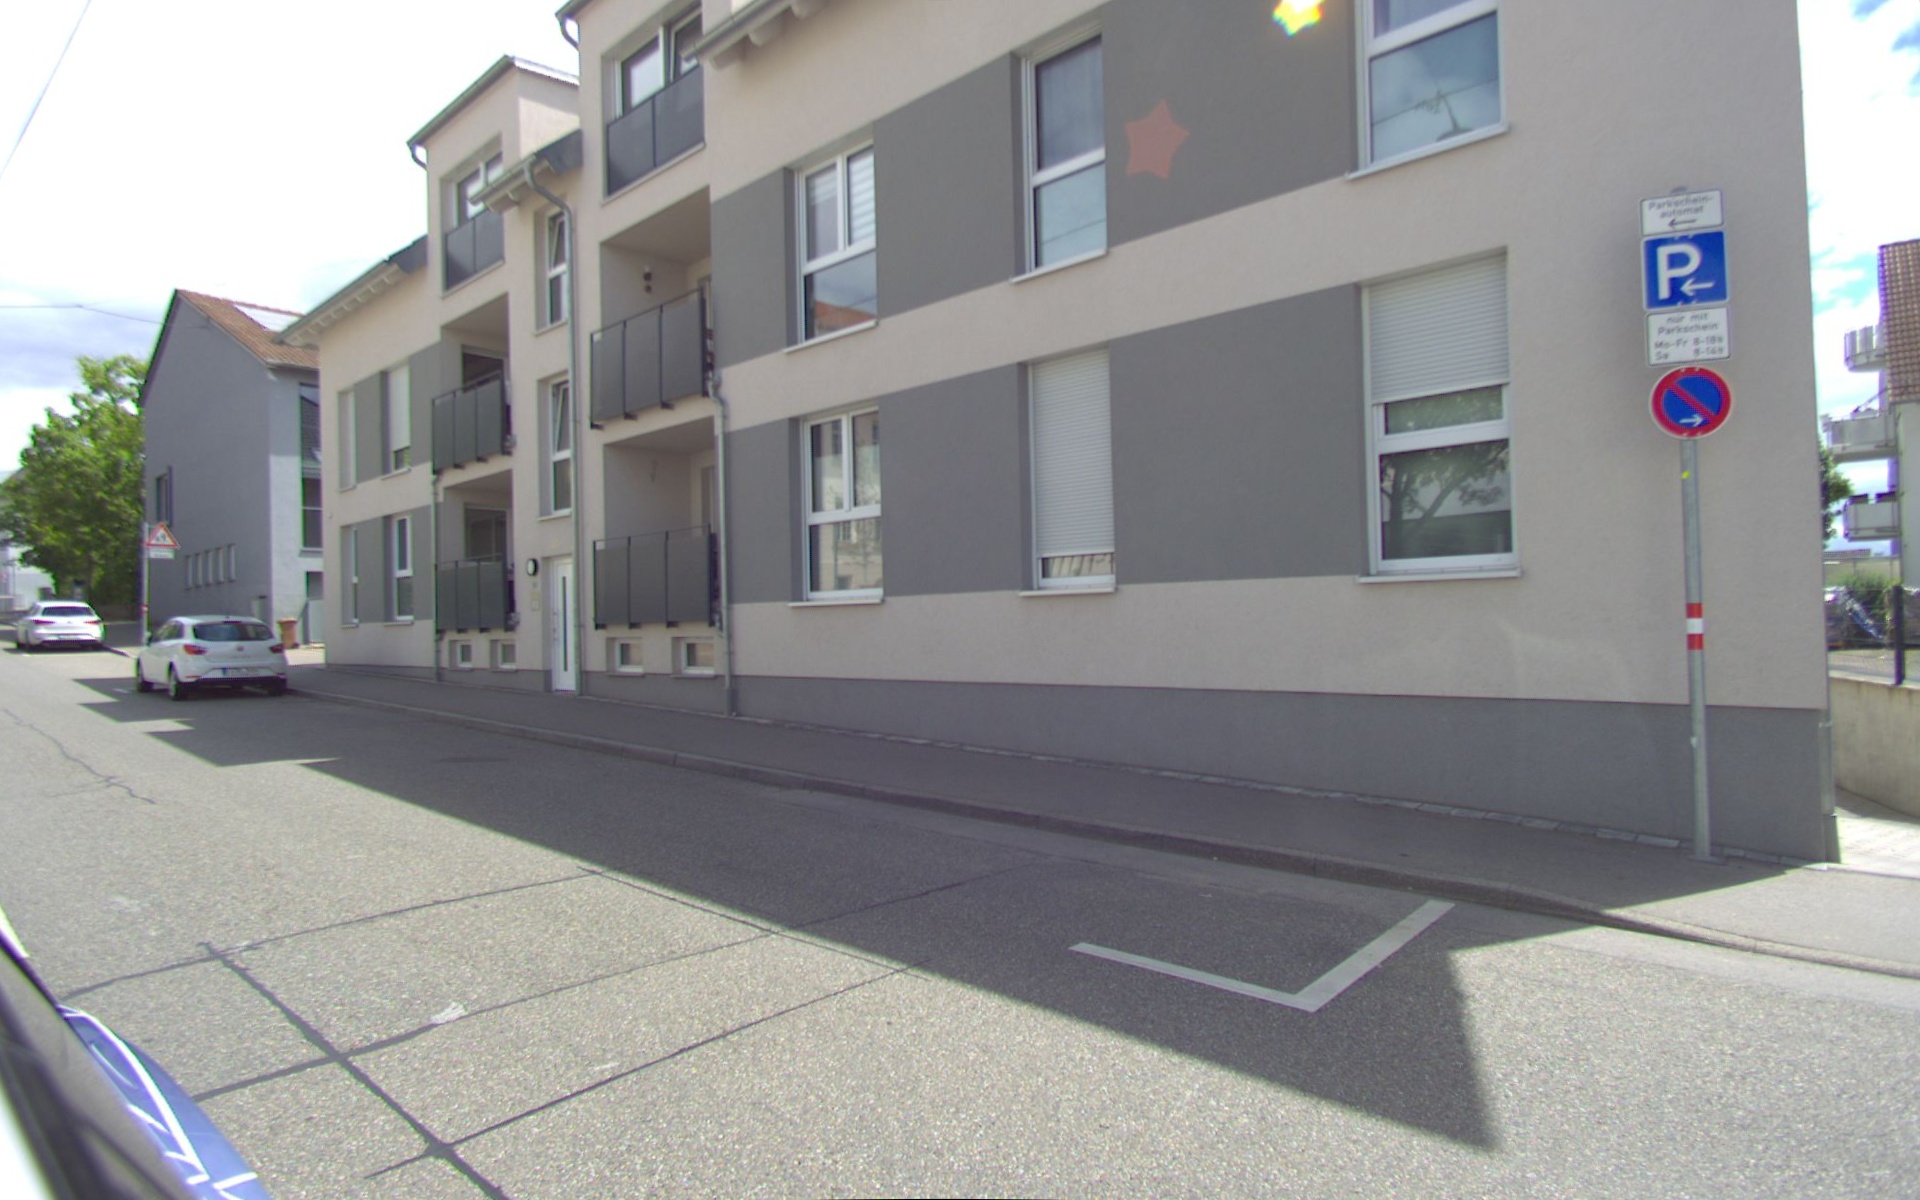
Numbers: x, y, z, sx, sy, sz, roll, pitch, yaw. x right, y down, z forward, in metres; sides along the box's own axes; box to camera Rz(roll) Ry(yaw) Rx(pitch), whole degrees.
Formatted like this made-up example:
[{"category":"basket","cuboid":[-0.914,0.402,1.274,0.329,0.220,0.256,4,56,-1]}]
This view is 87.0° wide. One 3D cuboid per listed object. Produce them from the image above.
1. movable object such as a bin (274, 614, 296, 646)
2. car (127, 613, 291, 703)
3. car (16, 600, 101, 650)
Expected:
[{"category":"movable object such as a bin","cuboid":[-20.371,0.897,30.562,0.399,0.936,0.449,0,-1,41]},{"category":"car","cuboid":[-13.706,0.988,18.401,3.697,1.429,1.630,0,-2,42]},{"category":"car","cuboid":[-27.043,0.753,30.329,3.868,1.401,1.678,-2,-1,45]}]
